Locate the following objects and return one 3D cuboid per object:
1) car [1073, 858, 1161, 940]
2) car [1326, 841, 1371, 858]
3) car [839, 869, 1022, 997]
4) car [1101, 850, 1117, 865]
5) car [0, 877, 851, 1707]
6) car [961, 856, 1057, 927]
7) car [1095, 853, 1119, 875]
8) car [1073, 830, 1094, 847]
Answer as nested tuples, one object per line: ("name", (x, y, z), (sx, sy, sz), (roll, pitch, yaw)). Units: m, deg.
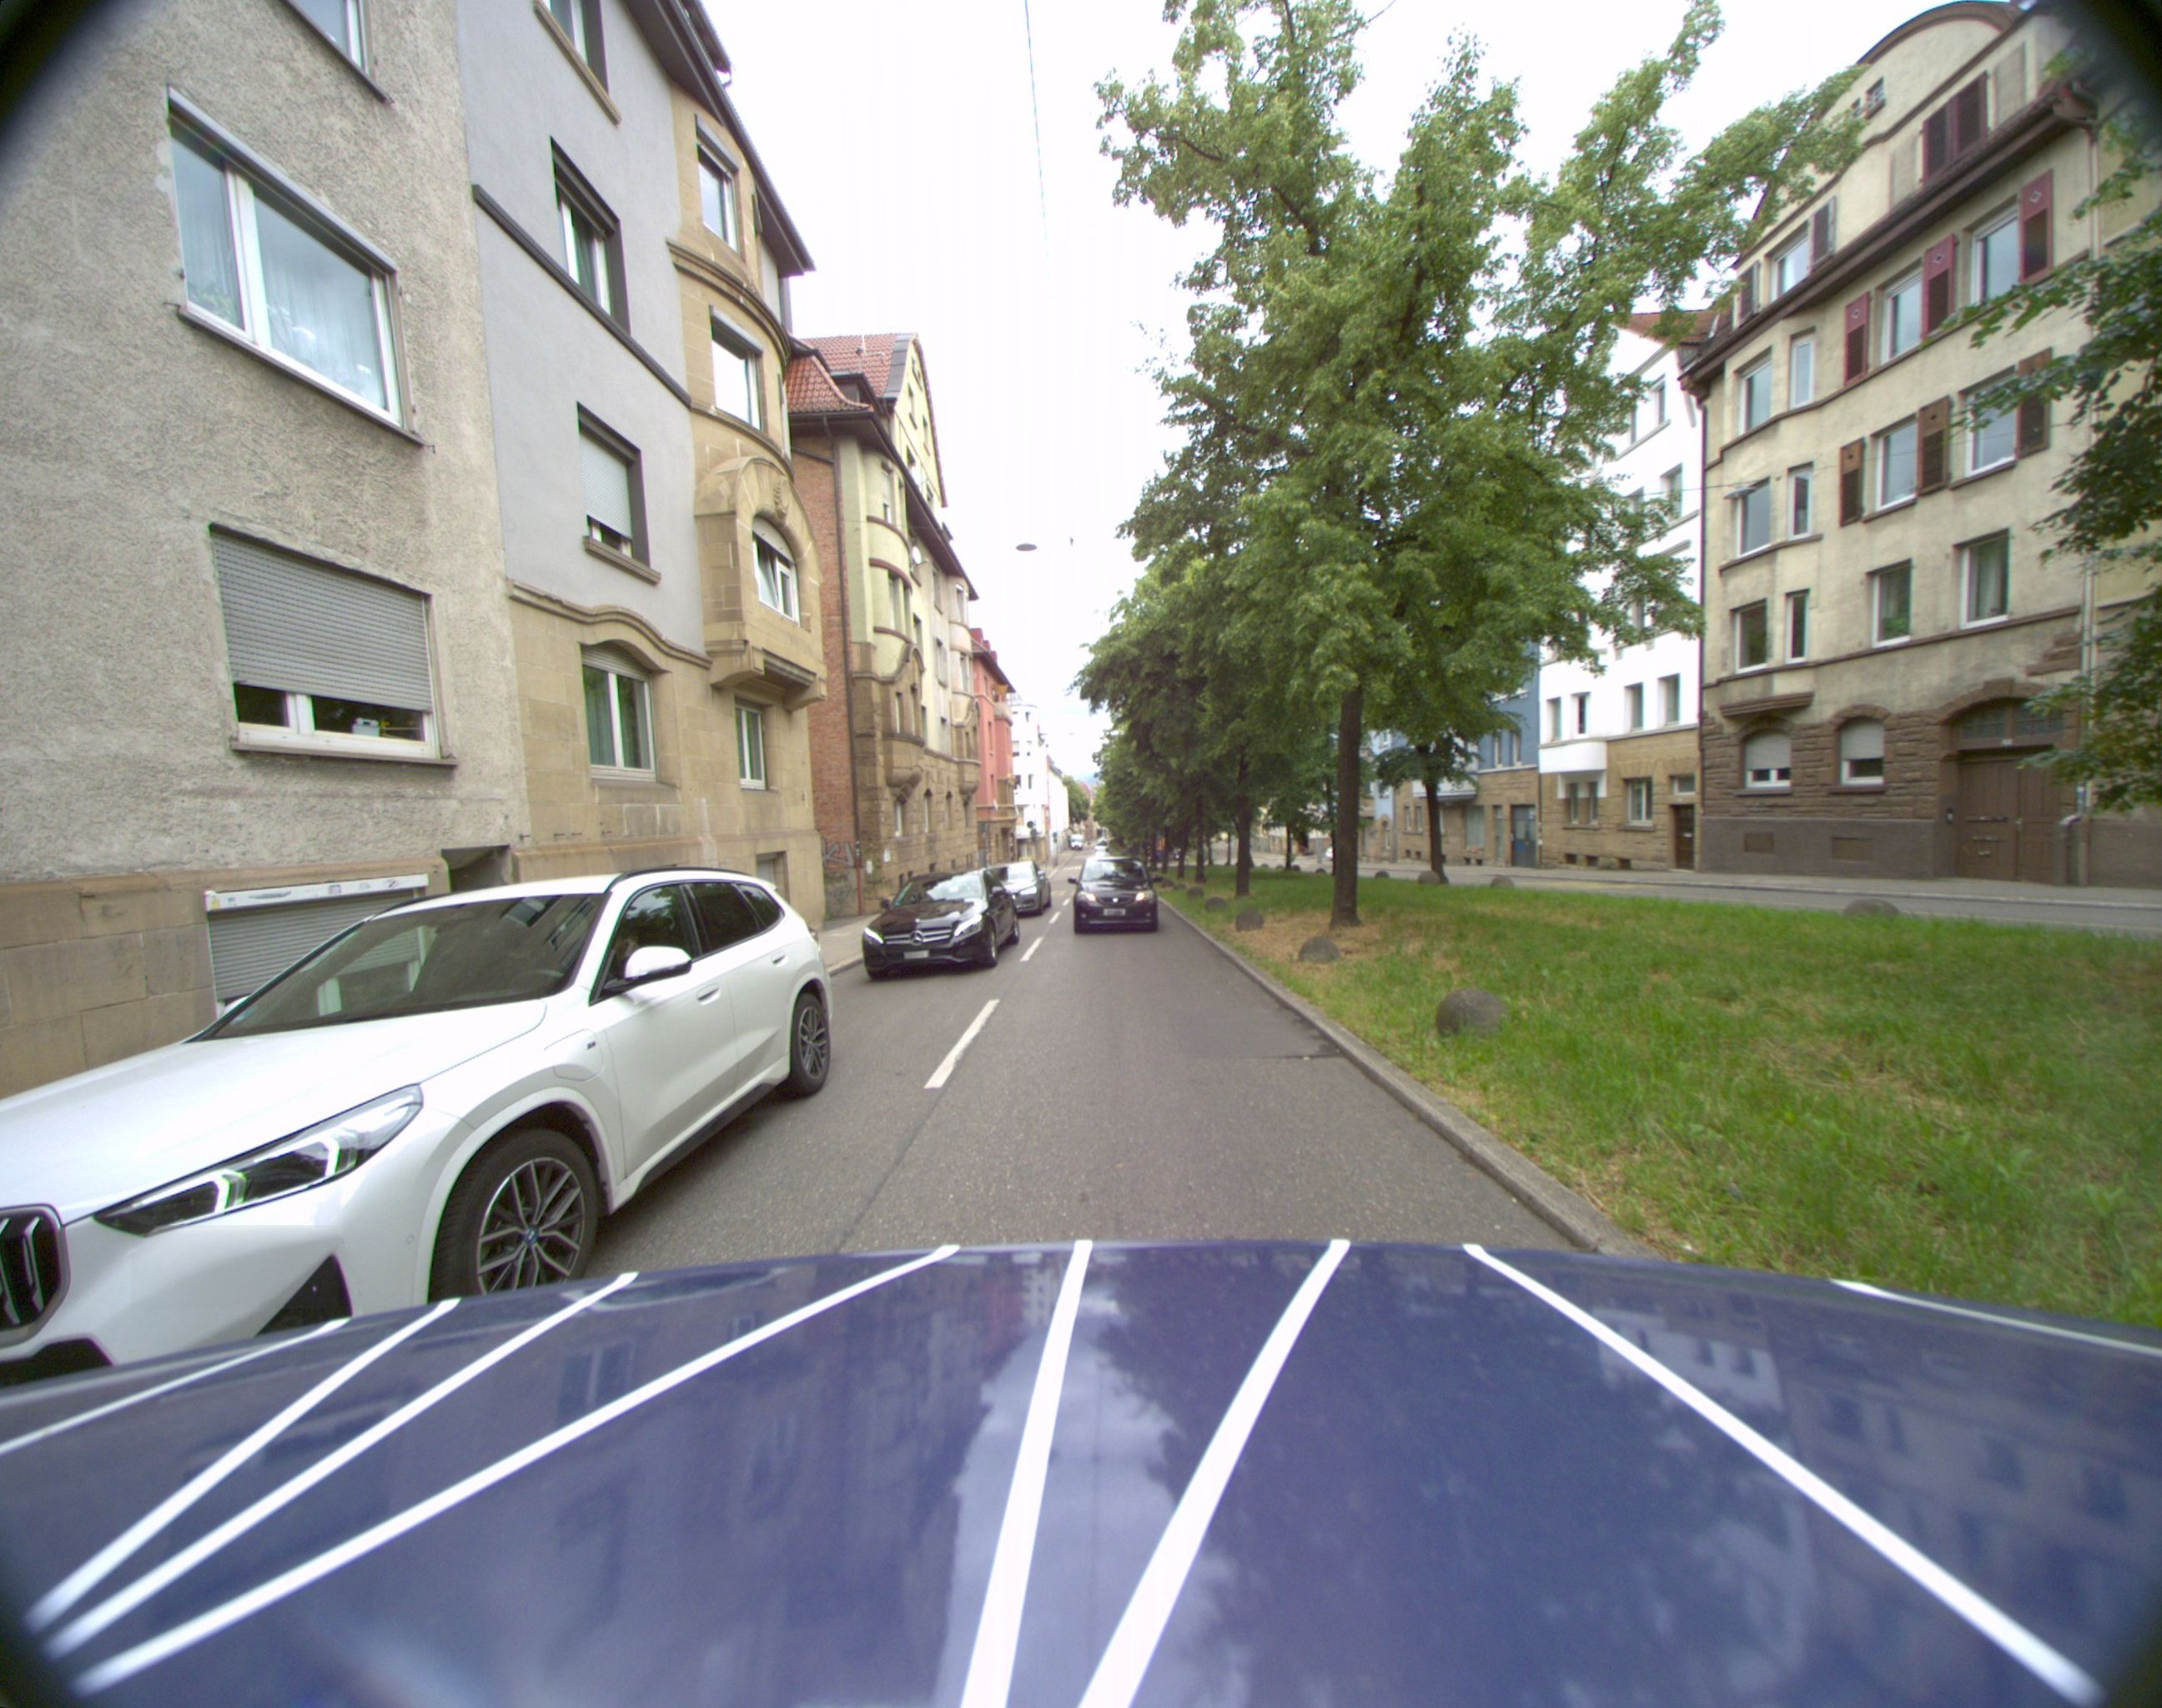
("car", (0.682, 0.835, 15.601), (1.611, 1.457, 3.296), (0, 1, 1))
("car", (22.165, -0.368, 63.113), (3.291, 1.323, 1.672), (-2, 1, 10))
("car", (-2.129, 1.071, 12.055), (1.884, 1.369, 4.205), (-6, 1, 1))
("car", (2.958, 0.333, 81.325), (1.607, 1.492, 3.737), (-2, 1, 1))
("car", (-2.812, 1.081, 3.742), (1.859, 1.547, 4.350), (-6, 1, 0))
("car", (-1.853, 0.929, 20.846), (1.936, 1.506, 4.303), (-6, 1, 2))
("car", (1.878, 0.736, 56.182), (1.664, 1.456, 3.580), (-2, 1, 1))
("car", (0.490, -2.797, 138.355), (2.715, 2.879, 6.456), (-2, 1, 8))
